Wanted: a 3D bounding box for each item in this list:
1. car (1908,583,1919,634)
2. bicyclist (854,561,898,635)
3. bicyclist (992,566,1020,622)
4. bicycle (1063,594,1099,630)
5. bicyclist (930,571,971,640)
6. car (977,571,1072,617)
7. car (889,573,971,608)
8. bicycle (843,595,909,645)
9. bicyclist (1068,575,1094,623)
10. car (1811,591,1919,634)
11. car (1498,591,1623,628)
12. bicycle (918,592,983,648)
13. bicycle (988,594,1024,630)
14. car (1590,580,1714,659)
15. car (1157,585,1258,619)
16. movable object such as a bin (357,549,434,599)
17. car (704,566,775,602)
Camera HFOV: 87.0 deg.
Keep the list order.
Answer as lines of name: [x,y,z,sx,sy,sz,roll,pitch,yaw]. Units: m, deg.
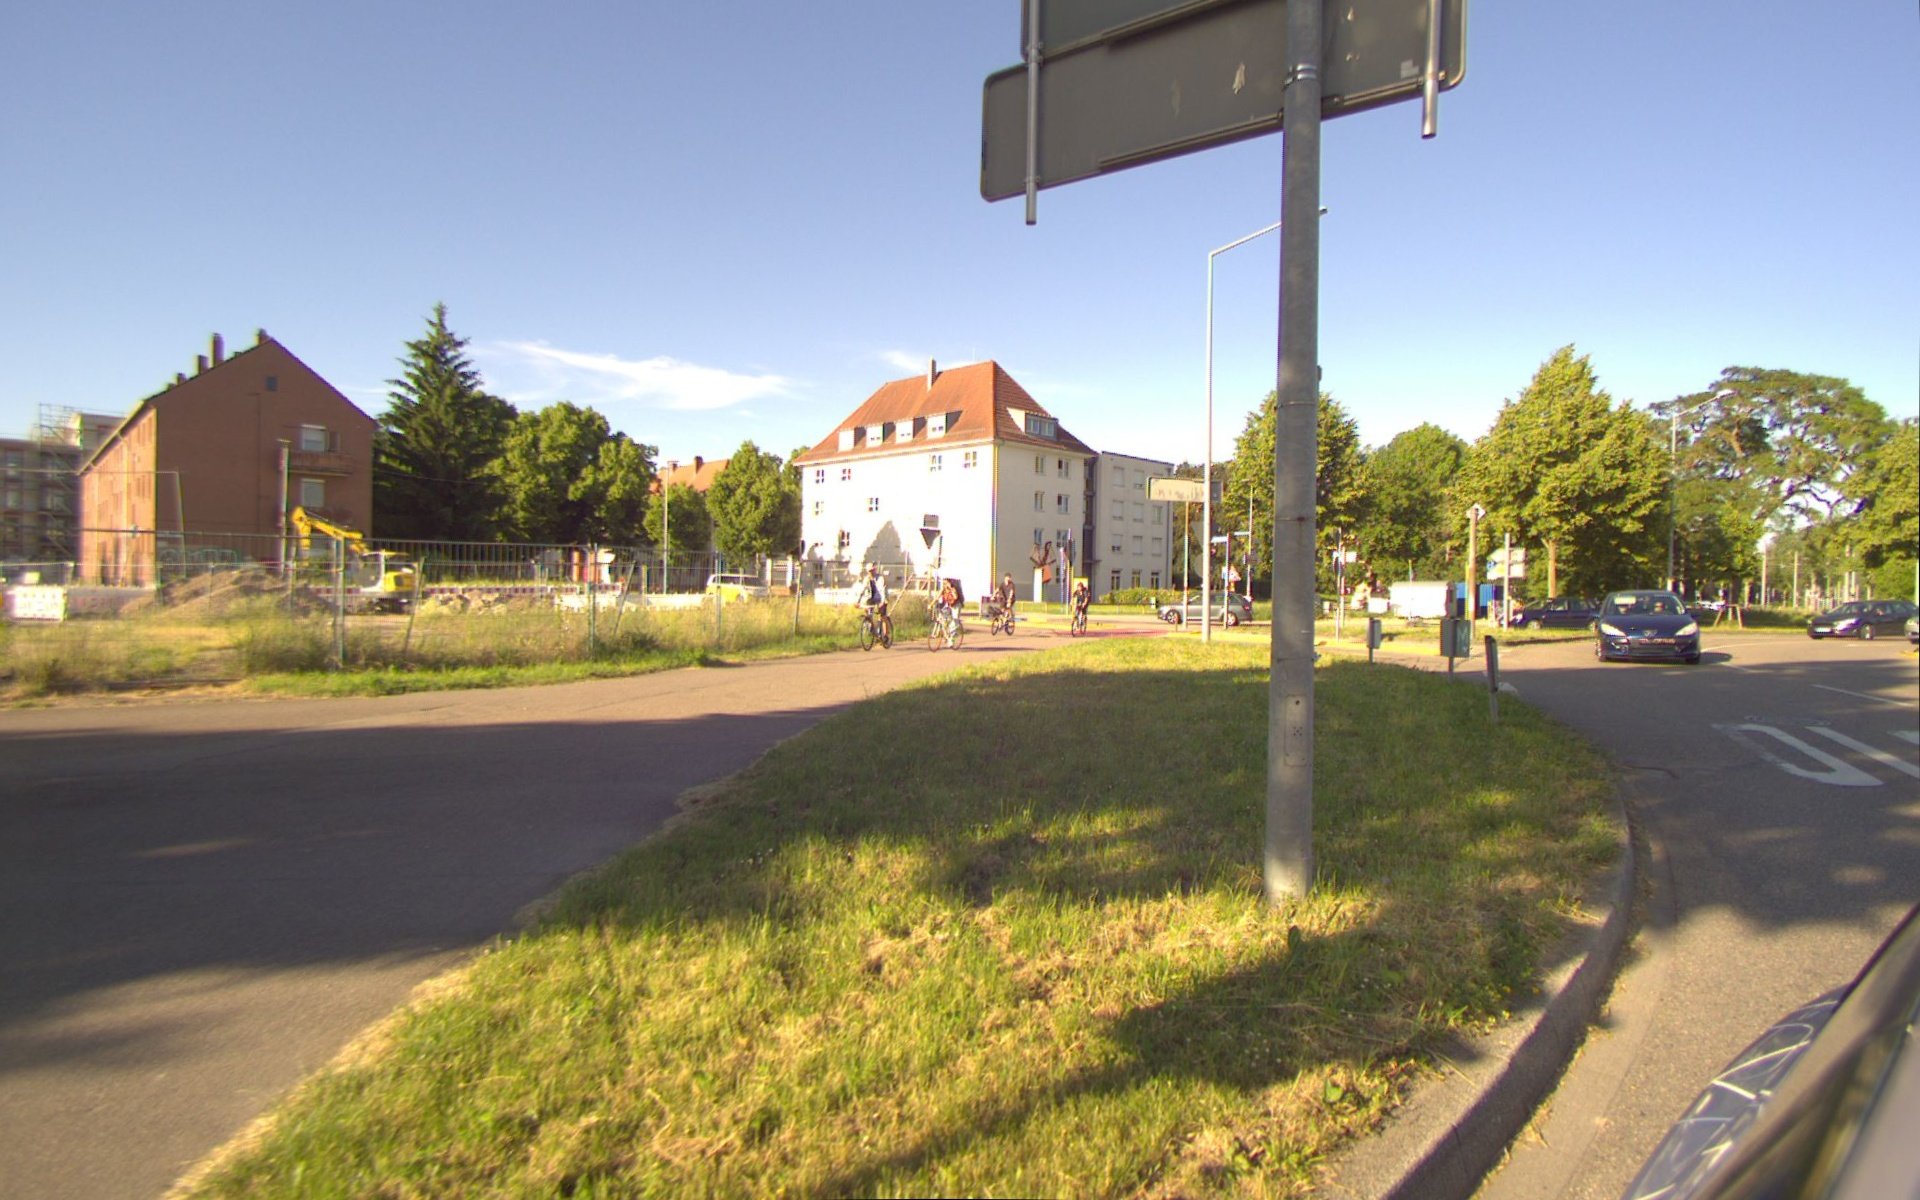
car: [32.133,0.289,31.447,4.433,1.588,1.854,0,1,-15]
bicyclist: [-1.808,-0.047,21.923,0.647,1.572,0.788,1,1,24]
bicyclist: [1.335,-0.175,29.442,0.585,1.606,0.960,0,1,18]
bicycle: [3.856,0.363,32.066,0.475,1.095,1.625,0,1,32]
bicyclist: [-0.209,0.113,22.258,0.502,1.491,0.822,1,1,38]
car: [2.640,-0.270,41.986,1.989,1.772,3.561,1,1,-40]
car: [-1.636,-0.523,53.844,4.245,1.807,1.867,1,1,41]
bicycle: [-1.797,0.412,21.991,0.650,1.025,1.805,1,1,24]
bicyclist: [3.839,-0.047,32.040,0.468,1.504,0.905,0,1,33]
car: [33.103,0.427,36.253,3.867,1.446,1.853,1,1,-8]
car: [23.975,0.358,40.499,3.927,1.395,1.756,0,1,4]
bicycle: [-0.196,0.415,22.316,0.505,1.166,1.582,3,2,38]
bicycle: [1.357,0.327,29.512,0.585,0.972,1.890,0,1,17]
car: [14.676,0.347,21.652,1.748,1.534,3.909,0,1,28]
car: [10.827,0.064,44.251,4.217,1.446,1.840,0,1,17]
movable object such as a bin: [-23.483,-1.071,42.147,2.046,2.039,1.984,0,1,24]
car: [-12.934,-0.955,59.169,1.968,2.039,4.460,0,1,-45]
